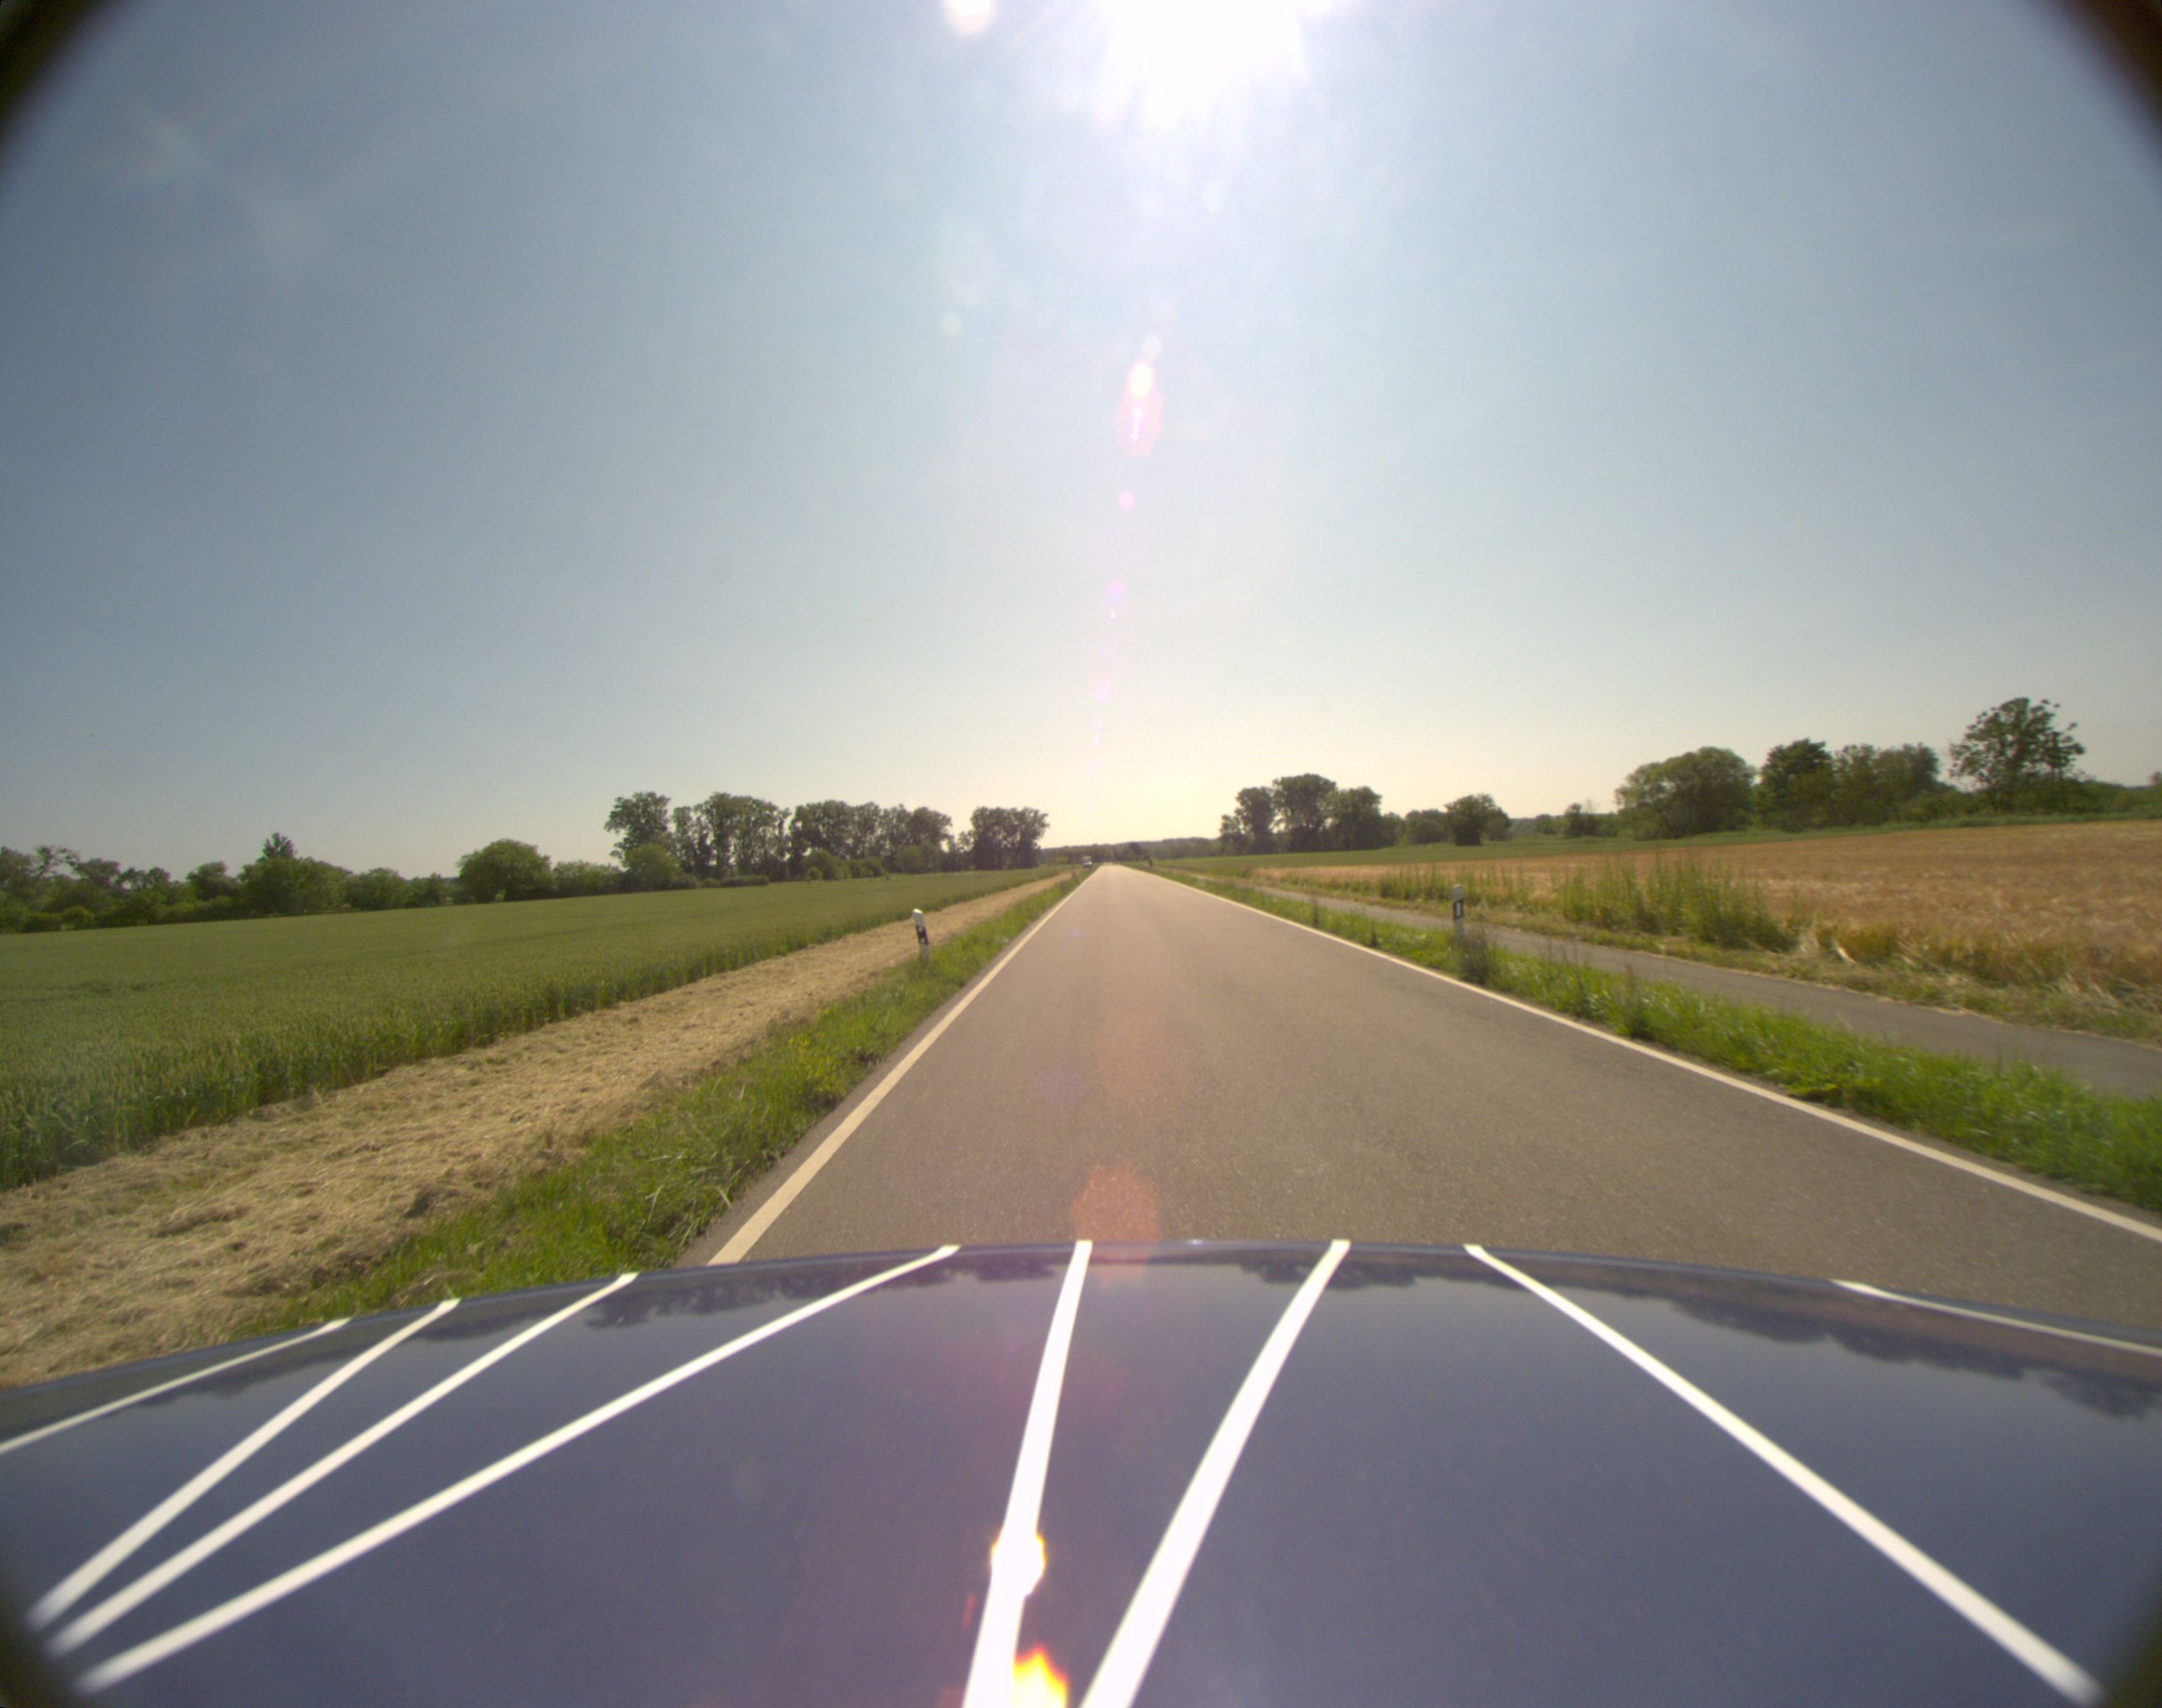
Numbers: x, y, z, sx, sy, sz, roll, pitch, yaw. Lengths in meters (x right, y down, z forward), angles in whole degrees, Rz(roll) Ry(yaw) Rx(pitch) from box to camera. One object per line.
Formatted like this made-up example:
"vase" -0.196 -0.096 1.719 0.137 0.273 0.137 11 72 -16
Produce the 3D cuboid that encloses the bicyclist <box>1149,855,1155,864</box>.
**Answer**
"bicyclist" 11.816 0.883 126.315 0.743 1.487 1.003 -3 0 2

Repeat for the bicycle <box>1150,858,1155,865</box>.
"bicycle" 11.843 1.198 126.314 0.743 1.165 2.083 -3 0 2

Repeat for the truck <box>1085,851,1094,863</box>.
"truck" 2.122 0.770 191.198 1.998 2.821 5.218 -3 0 2
